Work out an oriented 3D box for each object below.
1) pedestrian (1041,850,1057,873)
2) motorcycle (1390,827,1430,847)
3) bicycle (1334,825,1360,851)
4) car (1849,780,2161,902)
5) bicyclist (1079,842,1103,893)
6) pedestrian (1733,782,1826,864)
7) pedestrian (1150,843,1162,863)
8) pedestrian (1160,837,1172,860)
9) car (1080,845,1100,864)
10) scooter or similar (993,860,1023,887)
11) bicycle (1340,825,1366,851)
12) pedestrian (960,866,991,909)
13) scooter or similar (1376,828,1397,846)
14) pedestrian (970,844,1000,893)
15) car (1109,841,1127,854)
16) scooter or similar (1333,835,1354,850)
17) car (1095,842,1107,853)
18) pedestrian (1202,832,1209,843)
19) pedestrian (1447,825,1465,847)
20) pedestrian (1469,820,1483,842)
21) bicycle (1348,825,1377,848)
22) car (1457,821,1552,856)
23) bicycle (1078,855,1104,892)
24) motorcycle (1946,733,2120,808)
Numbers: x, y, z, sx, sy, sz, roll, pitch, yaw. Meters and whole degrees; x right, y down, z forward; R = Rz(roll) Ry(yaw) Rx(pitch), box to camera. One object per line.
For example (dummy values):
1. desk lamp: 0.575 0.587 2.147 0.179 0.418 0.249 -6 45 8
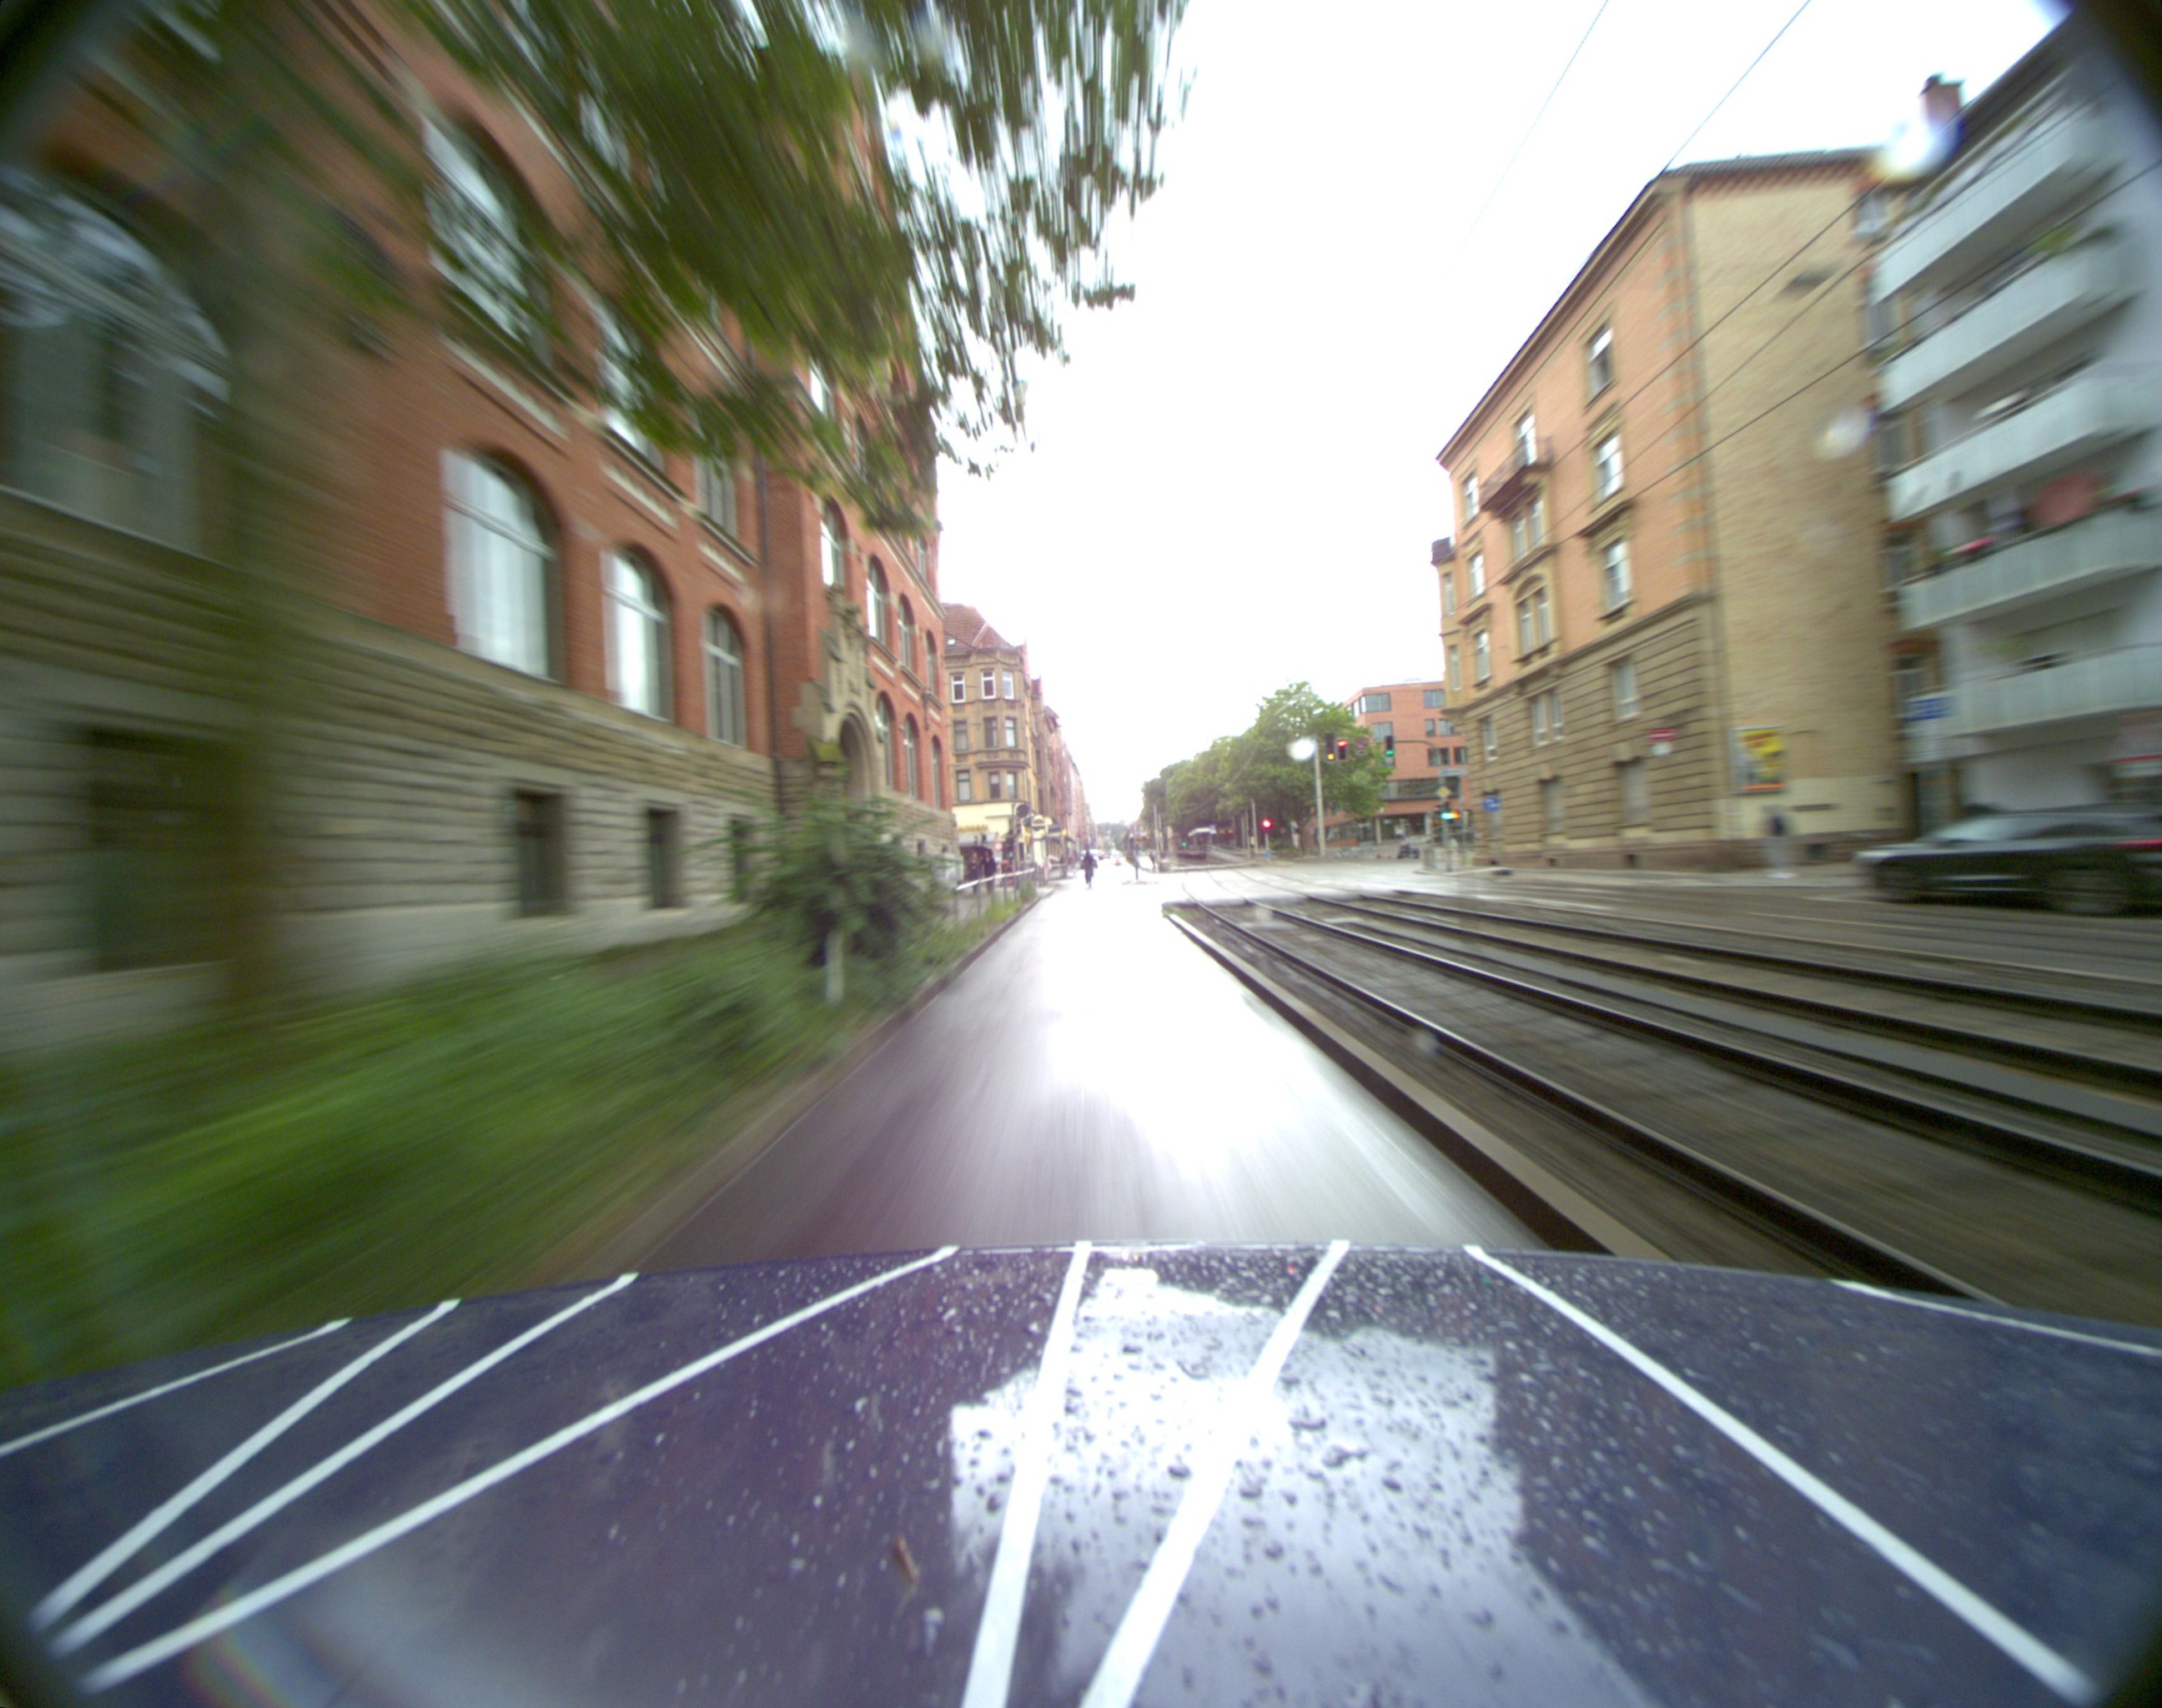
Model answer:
1. pedestrian: -2.438 0.584 58.036 0.996 1.695 0.781 -3 2 2
2. motorcycle: 24.883 -1.304 57.464 2.658 1.363 0.866 -3 2 -4
3. bicycle: 22.559 -1.355 64.382 1.896 2.002 0.518 -4 2 -4
4. car: 15.444 -0.258 12.240 1.737 1.641 4.363 -3 1 1
5. bicyclist: 0.478 0.578 34.690 0.920 2.250 1.287 -3 1 4
6. pedestrian: 17.318 -0.756 18.875 1.175 1.918 1.177 -3 1 -6
7. pedestrian: 6.140 -0.093 62.463 0.837 1.595 1.001 -3 1 0
8. pedestrian: 6.971 -0.473 62.229 0.827 1.788 1.001 -3 1 0
9. car: 1.034 0.067 85.201 1.824 1.893 5.991 -4 1 4
10. scooter or similar: -3.479 0.941 36.383 1.248 1.243 0.639 -1 2 24
11. bicycle: 22.656 -1.344 63.387 1.896 2.002 0.518 -4 2 -4
12. pedestrian: -4.120 1.290 29.749 0.960 1.616 1.073 -1 1 2
13. scooter or similar: 23.815 -1.330 59.300 1.507 1.363 0.452 -4 1 -15
14. pedestrian: -3.771 0.568 29.984 0.960 1.876 1.073 -1 1 2
15. car: 4.346 -0.810 89.161 1.883 1.439 3.999 -3 1 1
16. scooter or similar: 22.747 -1.003 65.782 1.720 1.187 0.478 -3 1 -19
17. car: 3.706 -1.173 141.280 1.884 1.838 3.999 -3 1 -1
18. pedestrian: 17.362 -2.242 105.815 0.781 1.475 0.884 -3 1 -2
19. pedestrian: 30.362 -1.460 61.580 0.898 1.720 1.009 -3 1 1
20. pedestrian: 32.616 -1.908 62.679 0.791 1.735 1.070 -2 6 36
21. bicycle: 22.713 -1.434 61.333 2.096 1.689 0.556 -6 3 -4
22. car: 21.158 -0.779 38.030 3.796 1.529 1.777 -3 1 -5
23. bicycle: 0.482 0.863 34.957 0.936 1.545 3.135 -3 0 4
24. motorcycle: 20.626 -1.756 16.571 0.931 1.368 2.309 -2 1 2
